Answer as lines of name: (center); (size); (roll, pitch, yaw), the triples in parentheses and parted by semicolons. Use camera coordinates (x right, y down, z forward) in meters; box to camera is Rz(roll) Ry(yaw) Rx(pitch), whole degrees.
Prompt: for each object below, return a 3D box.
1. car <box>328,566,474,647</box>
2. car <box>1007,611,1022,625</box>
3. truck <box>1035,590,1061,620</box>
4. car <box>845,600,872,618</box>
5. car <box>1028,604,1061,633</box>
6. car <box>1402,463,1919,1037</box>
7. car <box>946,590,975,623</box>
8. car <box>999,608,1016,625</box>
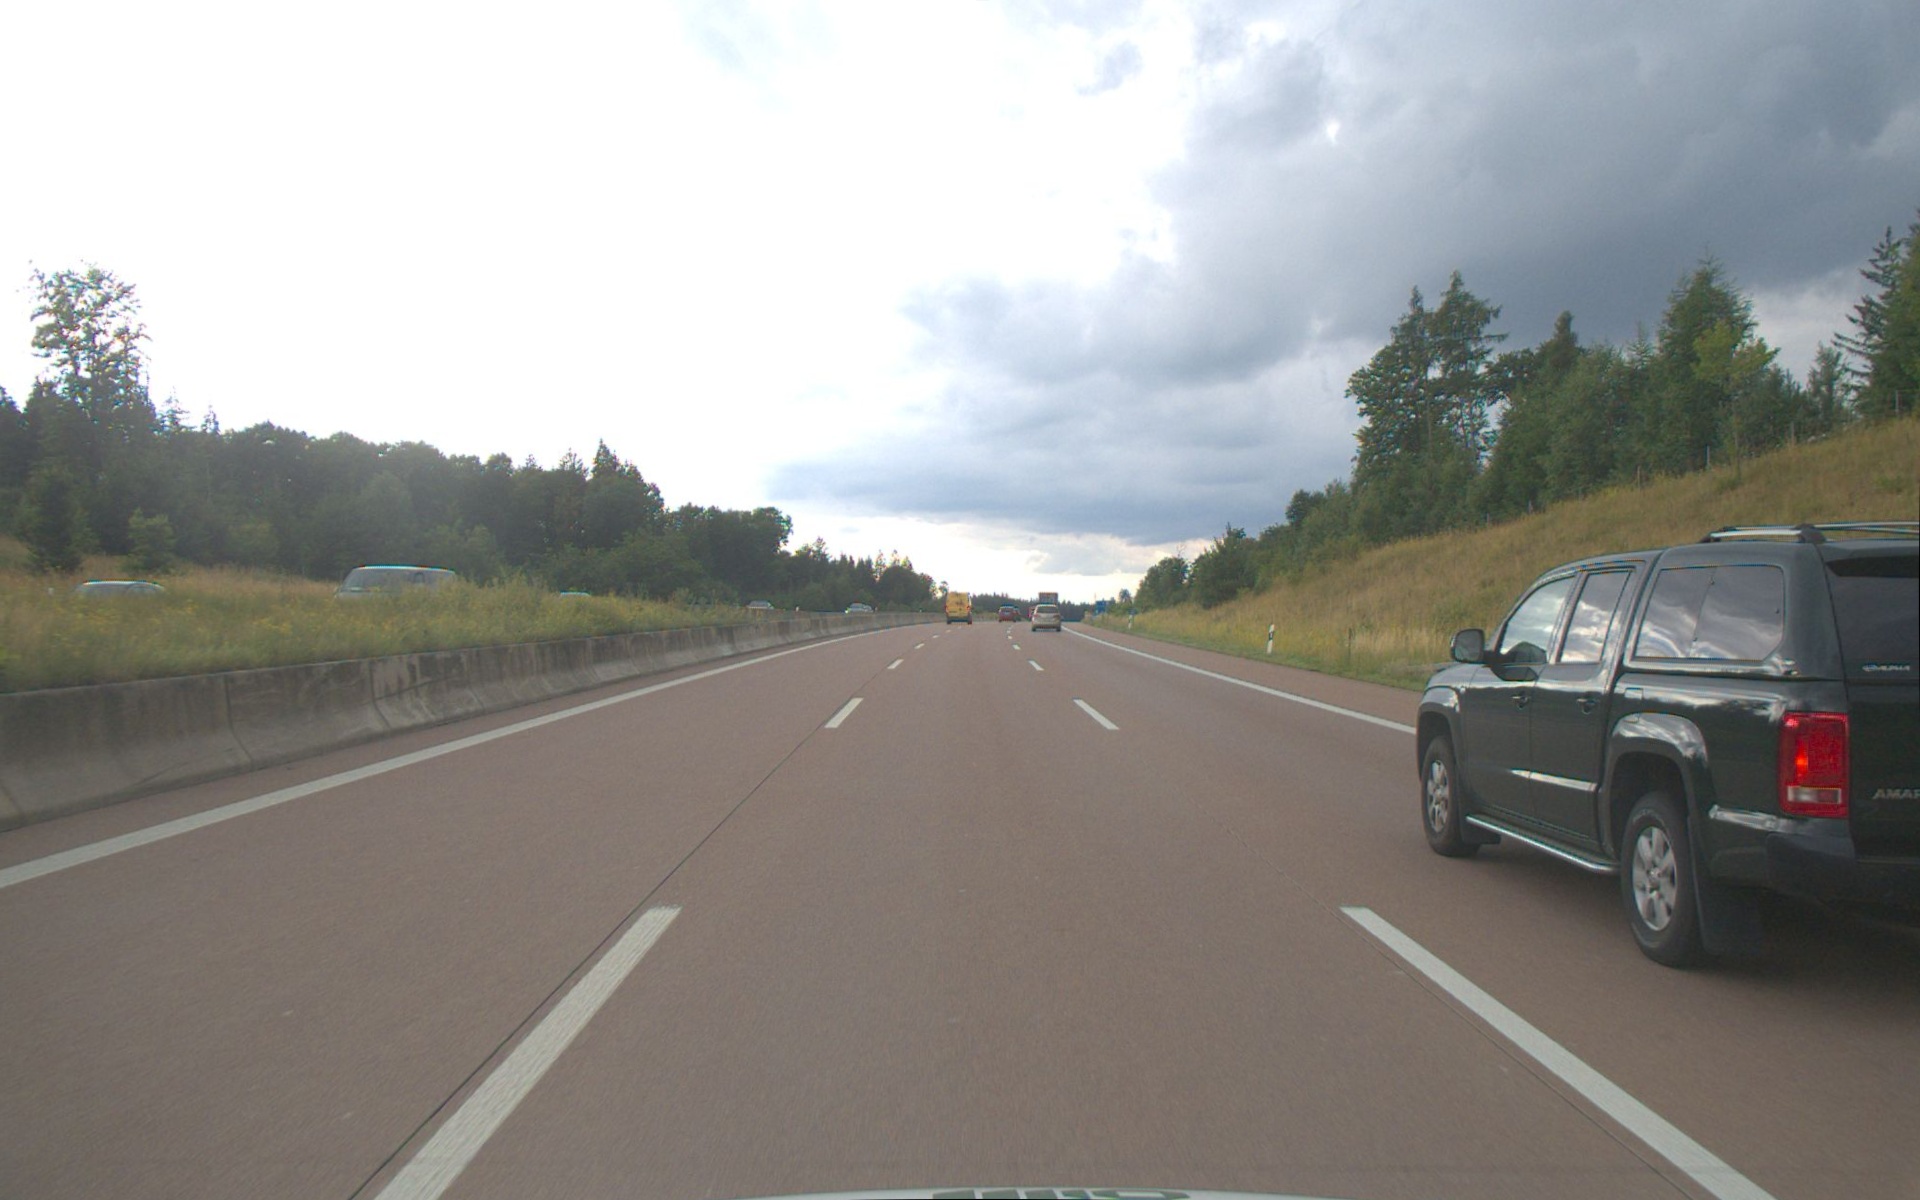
car: (-13.784, 0.204, 41.135); (1.837, 1.849, 5.223); (1, -1, 0)
car: (7.032, 2.298, 212.155); (1.848, 1.795, 4.999); (0, -1, 3)
truck: (12.687, 0.763, 238.141); (3.603, 3.981, 12.820); (1, -1, 3)
car: (-9.742, 0.879, 158.443); (1.695, 1.552, 4.247); (1, -1, 9)
car: (5.134, 1.133, 100.010); (1.936, 1.677, 4.621); (1, 0, 4)
car: (4.028, 0.533, 8.382); (2.002, 1.930, 5.576); (0, -1, -1)
car: (-0.002, 0.571, 140.559); (2.408, 2.754, 5.613); (0, -1, 0)
car: (5.126, 1.811, 178.008); (1.848, 1.795, 4.783); (0, -1, 2)
